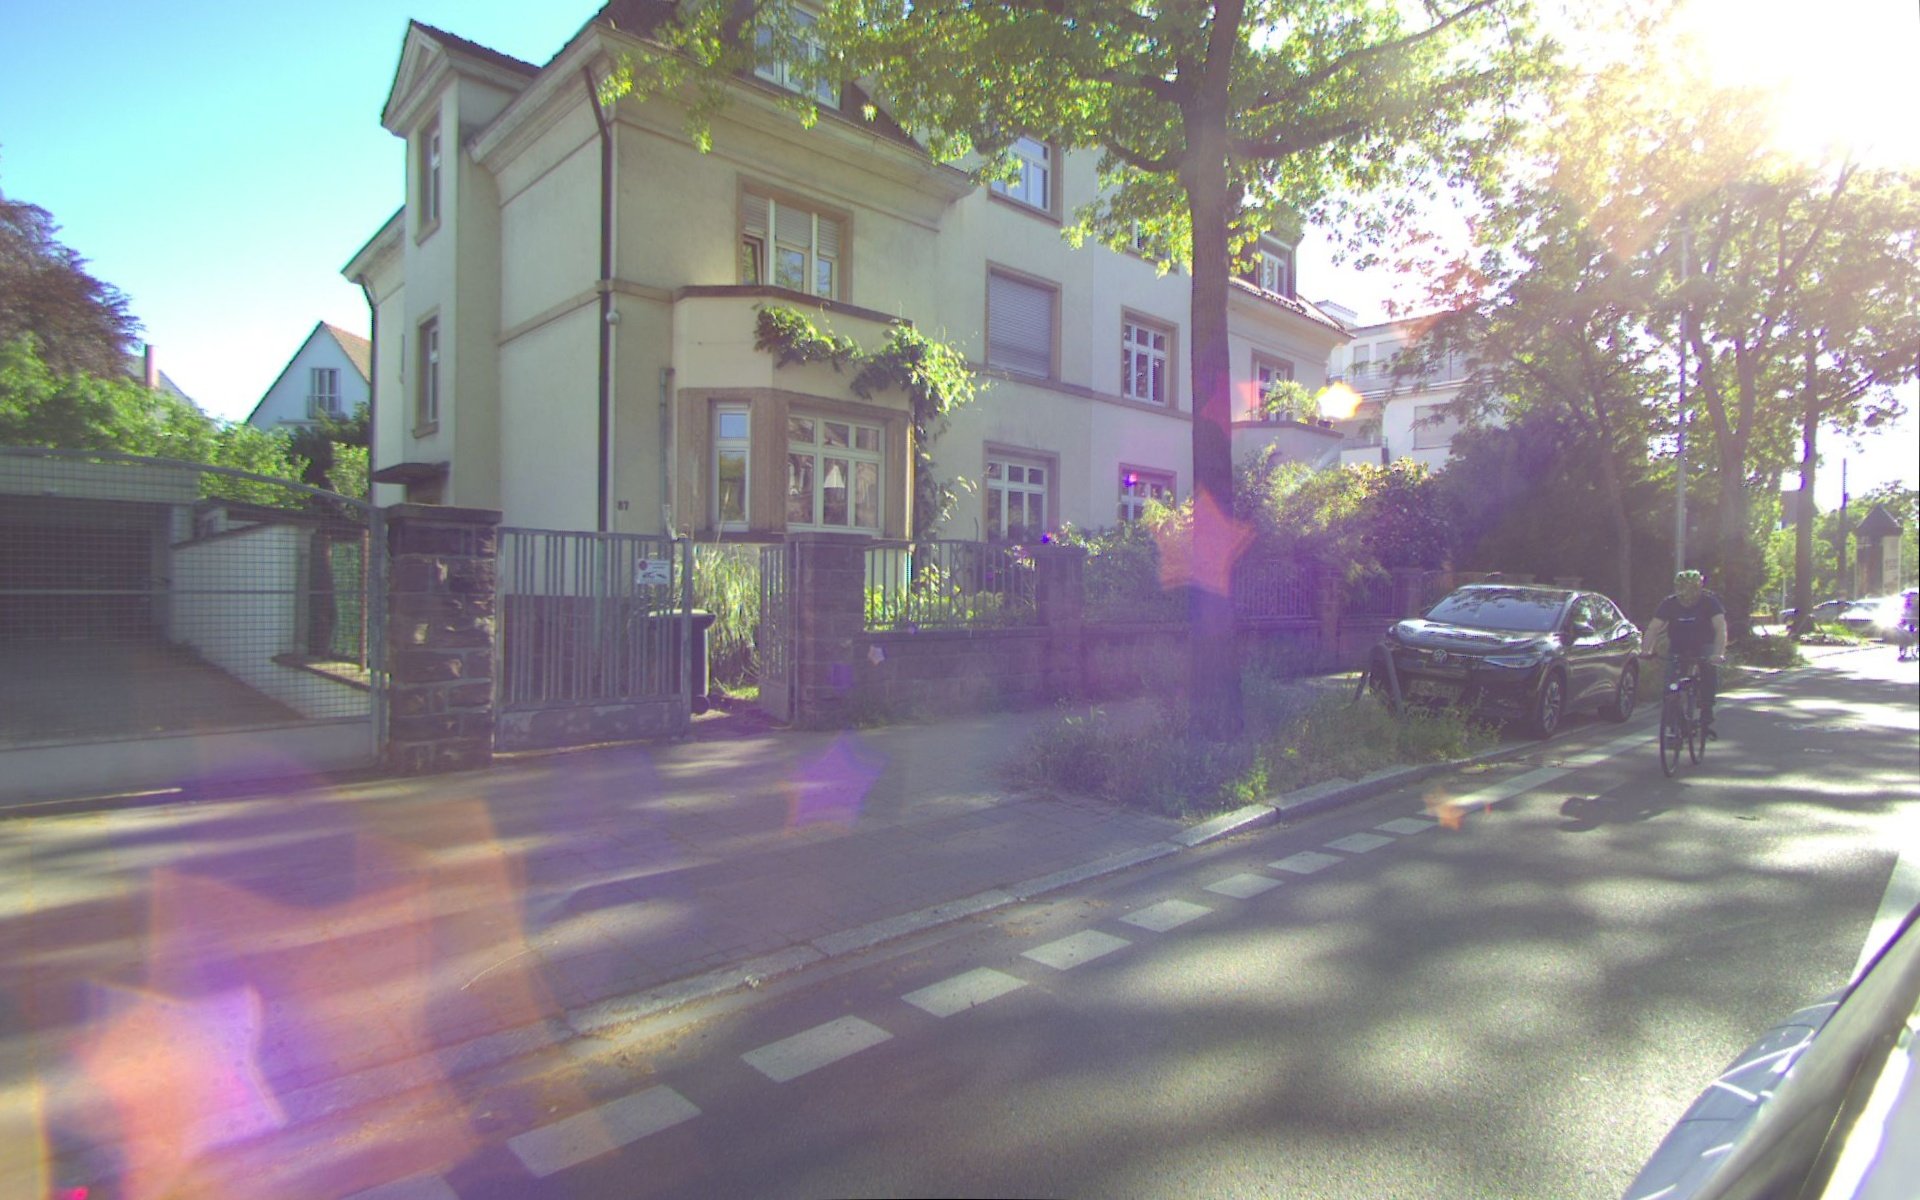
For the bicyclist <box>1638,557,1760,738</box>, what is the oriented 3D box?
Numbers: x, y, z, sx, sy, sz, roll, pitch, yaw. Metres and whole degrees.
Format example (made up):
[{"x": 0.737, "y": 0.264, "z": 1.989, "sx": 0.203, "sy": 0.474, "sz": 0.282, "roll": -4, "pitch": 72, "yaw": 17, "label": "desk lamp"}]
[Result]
[{"x": 6.601, "y": 0.386, "z": 9.025, "sx": 1.095, "sy": 1.506, "sz": 0.645, "roll": 0, "pitch": 0, "yaw": -41, "label": "bicyclist"}]

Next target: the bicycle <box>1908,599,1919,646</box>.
[{"x": 24.902, "y": 0.572, "z": 25.987, "sx": 1.783, "sy": 1.158, "sz": 0.644, "roll": 0, "pitch": 0, "yaw": -41, "label": "bicycle"}]

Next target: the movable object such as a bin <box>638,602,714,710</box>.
[{"x": -3.057, "y": 0.569, "z": 10.842, "sx": 0.697, "sy": 1.070, "sz": 1.093, "roll": 0, "pitch": 0, "yaw": -20, "label": "movable object such as a bin"}]

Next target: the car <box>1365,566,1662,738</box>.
[{"x": 6.671, "y": 0.492, "z": 12.027, "sx": 4.020, "sy": 1.626, "sz": 1.743, "roll": 0, "pitch": 4, "yaw": -41, "label": "car"}]

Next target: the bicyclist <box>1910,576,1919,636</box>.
[{"x": 24.914, "y": 0.144, "z": 25.999, "sx": 1.095, "sy": 1.506, "sz": 0.622, "roll": 0, "pitch": 0, "yaw": -41, "label": "bicyclist"}]

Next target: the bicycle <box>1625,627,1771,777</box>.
[{"x": 6.611, "y": 0.845, "z": 9.029, "sx": 1.868, "sy": 1.158, "sz": 0.644, "roll": 0, "pitch": 0, "yaw": -41, "label": "bicycle"}]

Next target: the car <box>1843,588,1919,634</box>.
[{"x": 31.554, "y": 0.333, "z": 34.407, "sx": 3.930, "sy": 1.469, "sz": 1.785, "roll": 0, "pitch": 1, "yaw": -41, "label": "car"}]

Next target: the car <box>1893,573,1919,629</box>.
[{"x": 36.789, "y": 0.045, "z": 38.068, "sx": 4.503, "sy": 2.039, "sz": 1.997, "roll": 0, "pitch": 1, "yaw": -41, "label": "car"}]
